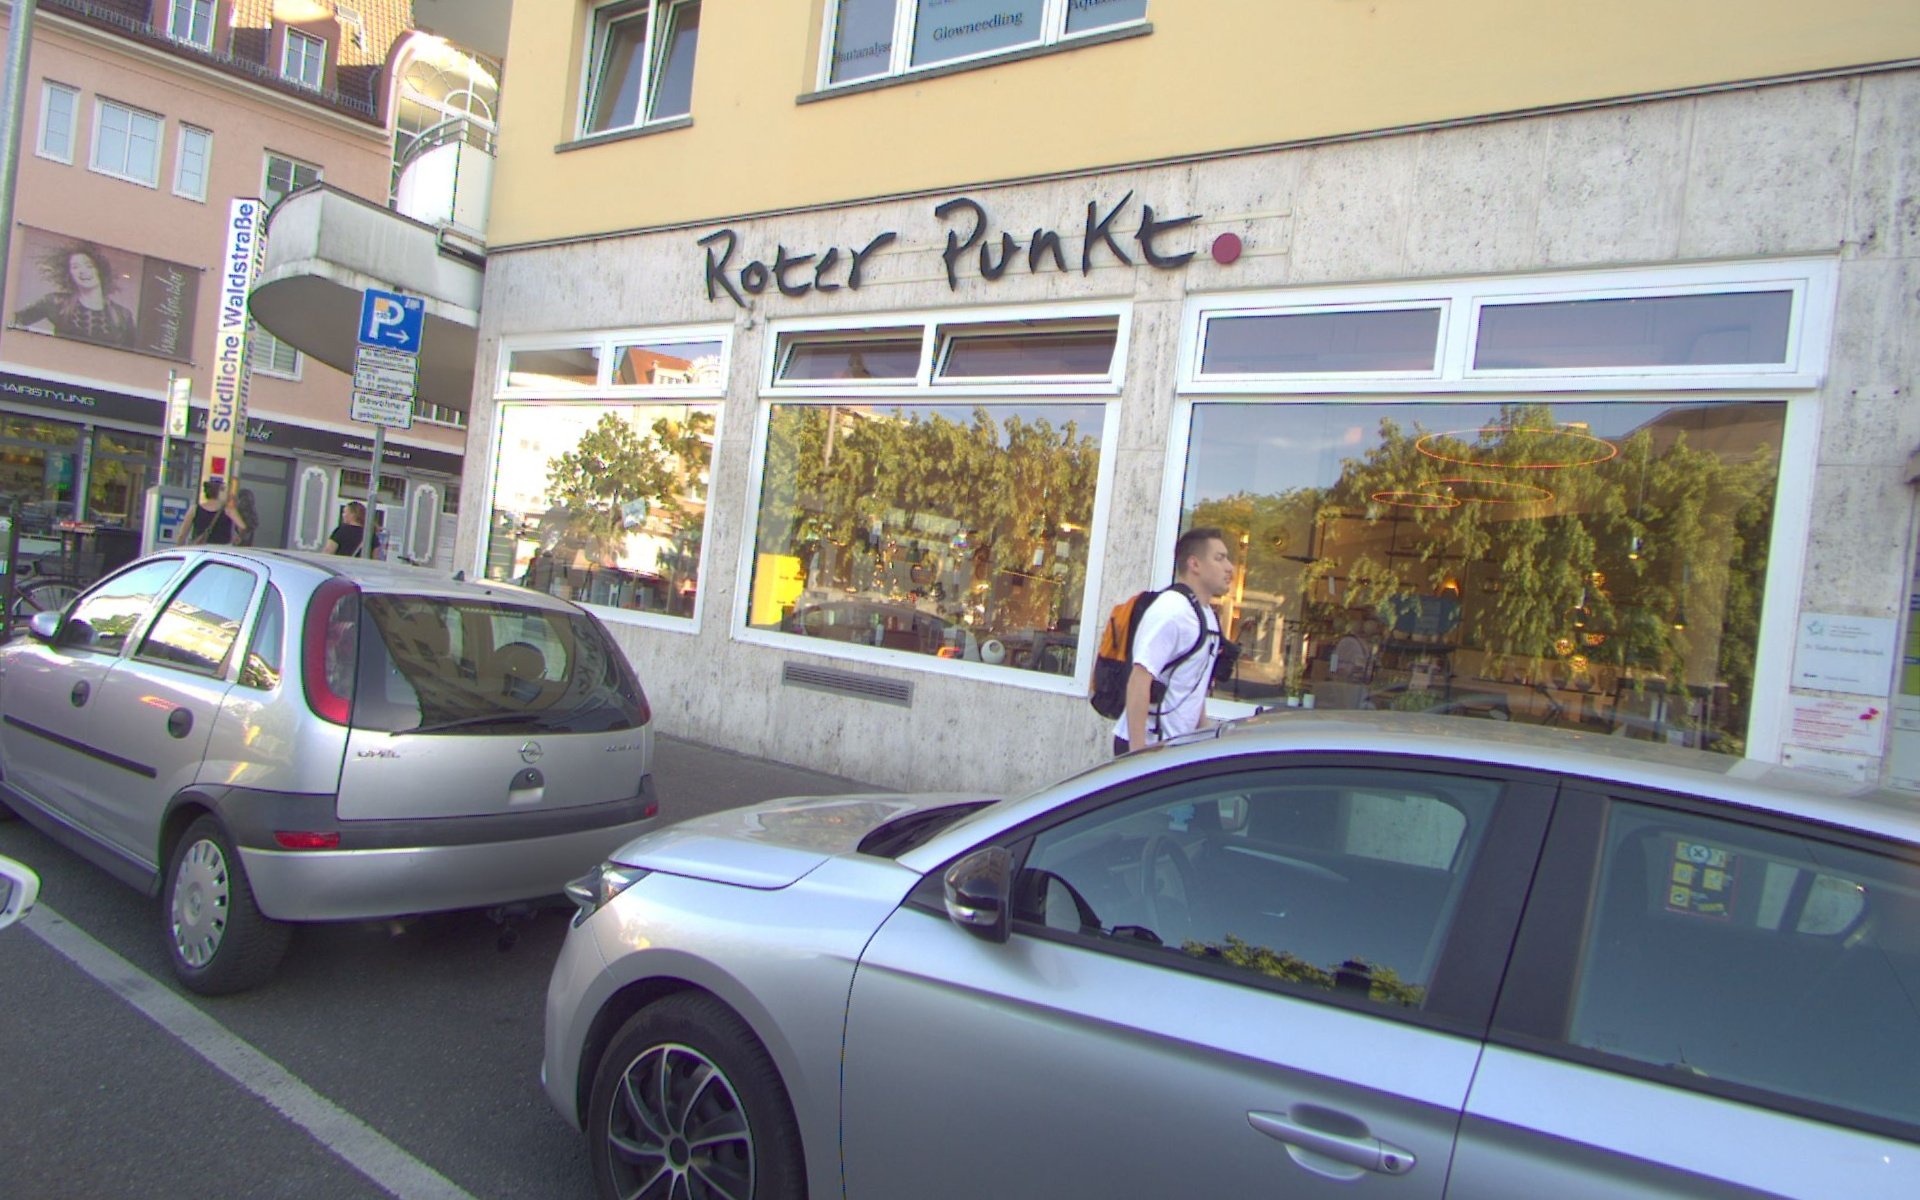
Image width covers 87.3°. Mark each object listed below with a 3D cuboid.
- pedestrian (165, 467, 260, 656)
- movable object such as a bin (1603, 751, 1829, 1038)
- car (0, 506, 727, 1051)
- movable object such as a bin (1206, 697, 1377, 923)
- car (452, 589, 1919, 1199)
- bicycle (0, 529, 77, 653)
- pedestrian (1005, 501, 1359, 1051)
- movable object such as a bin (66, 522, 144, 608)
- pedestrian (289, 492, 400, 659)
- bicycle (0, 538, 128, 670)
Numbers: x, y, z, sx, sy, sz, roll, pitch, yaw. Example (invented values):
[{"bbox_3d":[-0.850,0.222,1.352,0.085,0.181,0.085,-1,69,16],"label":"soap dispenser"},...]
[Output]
[{"bbox_3d":[-7.856,-0.398,10.559,0.677,1.874,0.883,3,3,-41],"label":"pedestrian"},{"bbox_3d":[3.372,1.265,4.557,0.639,1.035,0.738,6,-1,31],"label":"movable object such as a bin"},{"bbox_3d":[-2.958,0.483,4.471,3.520,1.443,1.587,6,-2,32],"label":"car"},{"bbox_3d":[1.823,1.096,5.487,0.639,1.035,0.738,6,-1,31],"label":"movable object such as a bin"},{"bbox_3d":[0.778,0.943,2.291,3.624,1.453,1.587,6,-2,30],"label":"car"},{"bbox_3d":[-9.057,-0.151,8.808,0.642,1.072,1.816,7,-1,33],"label":"bicycle"},{"bbox_3d":[0.895,0.602,4.016,0.967,1.845,0.809,6,0,35],"label":"pedestrian"},{"bbox_3d":[-11.958,-0.489,14.075,0.716,1.117,0.636,7,2,35],"label":"movable object such as a bin"},{"bbox_3d":[-6.901,-0.263,11.283,0.775,1.777,0.721,6,2,36],"label":"pedestrian"},{"bbox_3d":[-8.166,0.002,8.263,0.642,1.057,1.884,7,0,33],"label":"bicycle"}]
